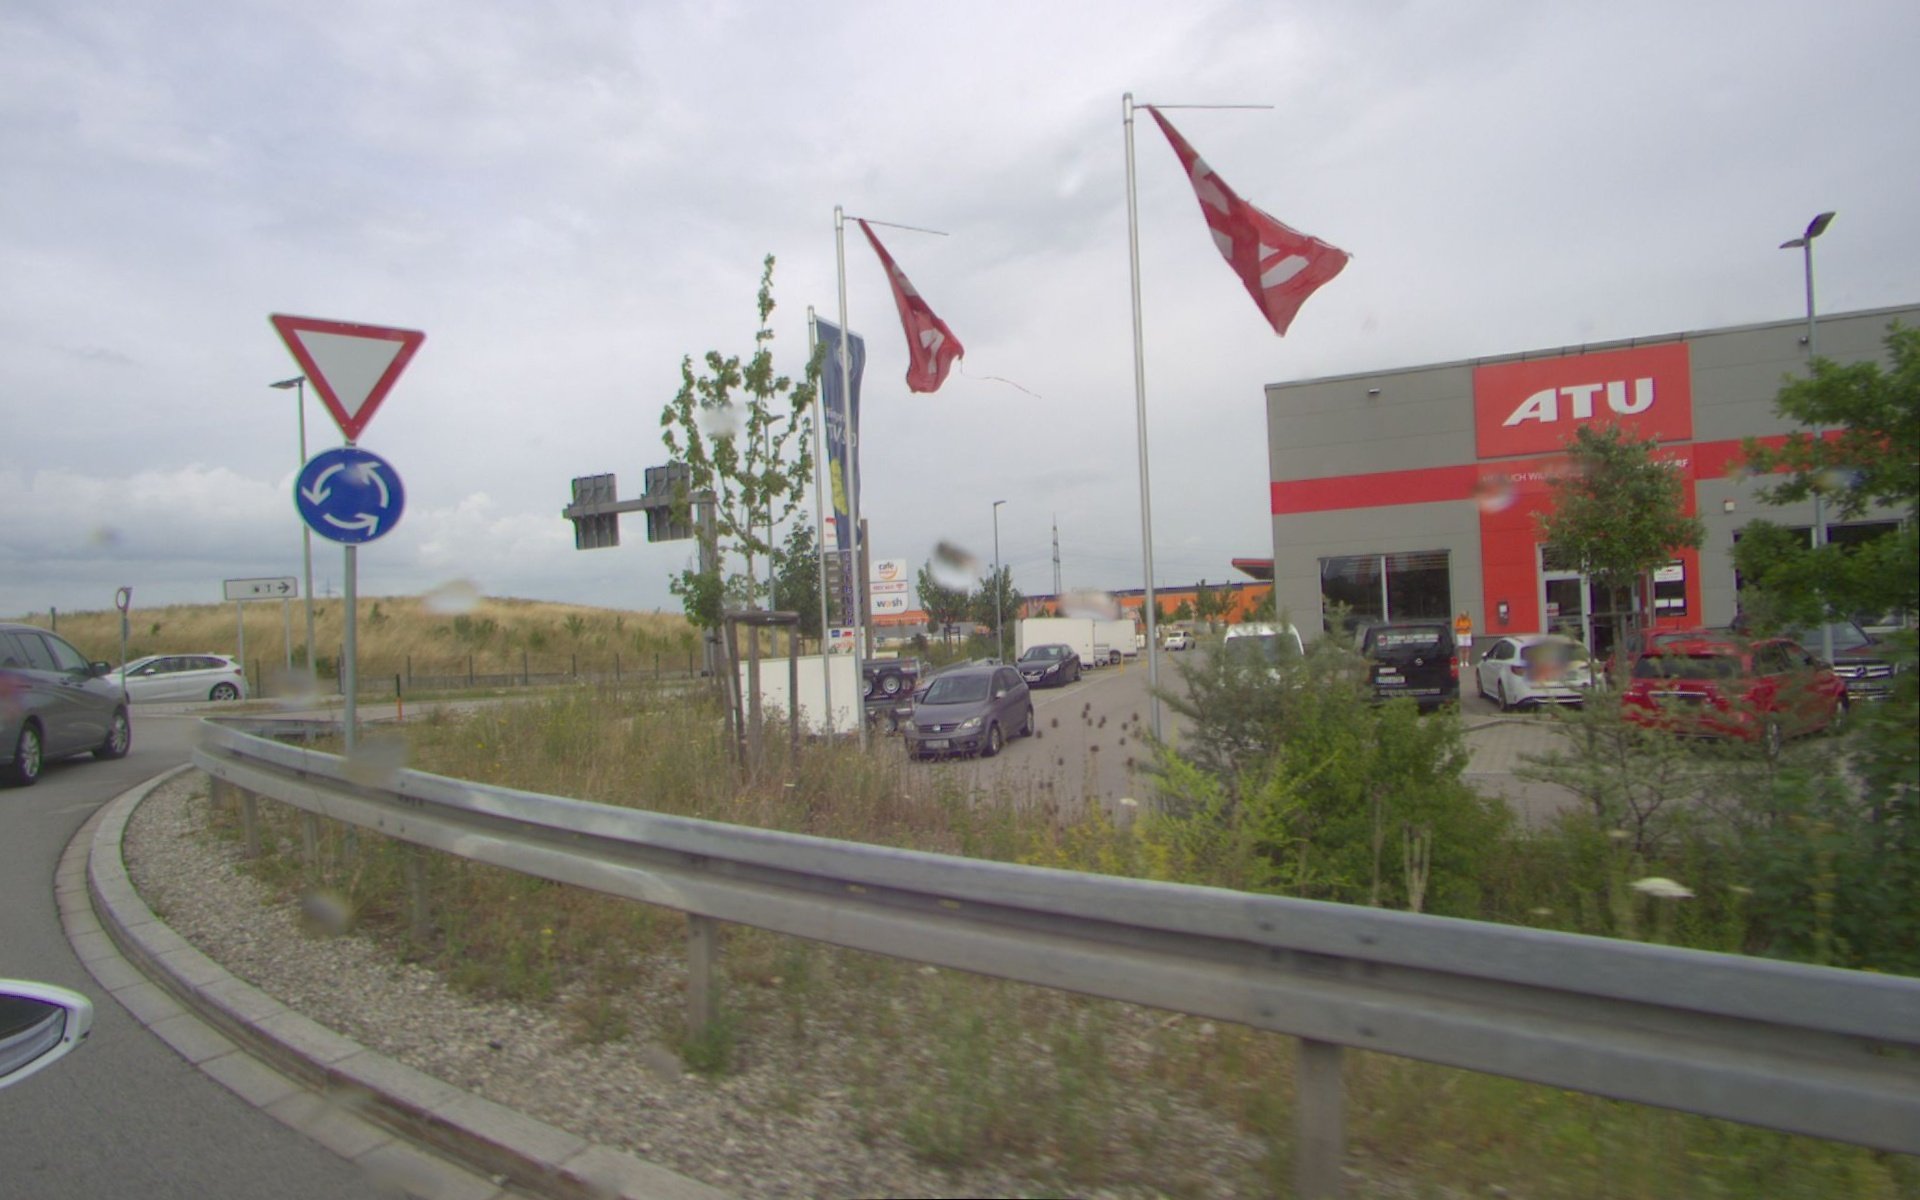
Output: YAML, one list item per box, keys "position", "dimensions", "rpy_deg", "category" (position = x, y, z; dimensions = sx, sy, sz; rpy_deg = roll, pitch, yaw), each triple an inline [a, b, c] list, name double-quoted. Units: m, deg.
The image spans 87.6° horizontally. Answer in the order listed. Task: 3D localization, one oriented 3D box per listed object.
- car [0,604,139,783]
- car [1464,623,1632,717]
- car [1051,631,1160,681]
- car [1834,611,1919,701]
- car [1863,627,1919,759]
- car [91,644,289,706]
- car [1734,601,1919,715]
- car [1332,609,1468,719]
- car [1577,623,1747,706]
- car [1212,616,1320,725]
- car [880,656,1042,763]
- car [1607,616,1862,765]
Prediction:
- position: [-10.276, 0.957, 10.325]
  dimensions: [1.888, 1.594, 3.986]
  rpy_deg: [-1, -2, -26]
  category: "car"
- position: [12.023, 1.368, 20.844]
  dimensions: [1.881, 1.662, 4.669]
  rpy_deg: [-2, -1, 16]
  category: "car"
- position: [5.060, 2.011, 35.290]
  dimensions: [1.890, 1.592, 3.725]
  rpy_deg: [0, -5, -29]
  category: "car"
- position: [18.967, 1.050, 19.436]
  dimensions: [1.562, 1.659, 3.695]
  rpy_deg: [-2, -2, 16]
  category: "car"
- position: [14.239, 1.154, 13.587]
  dimensions: [4.017, 1.600, 1.762]
  rpy_deg: [-3, 0, -30]
  category: "car"
- position: [-22.913, 2.174, 29.973]
  dimensions: [1.760, 1.649, 4.403]
  rpy_deg: [-1, -2, 33]
  category: "car"
- position: [16.290, 1.061, 18.558]
  dimensions: [1.562, 1.859, 4.199]
  rpy_deg: [-2, -3, 16]
  category: "car"
- position: [9.266, 1.250, 21.503]
  dimensions: [1.964, 1.998, 5.071]
  rpy_deg: [-2, 0, 16]
  category: "car"
- position: [14.383, 1.321, 20.784]
  dimensions: [1.562, 1.517, 4.199]
  rpy_deg: [-2, -3, 16]
  category: "car"
- position: [6.753, 1.456, 22.266]
  dimensions: [1.964, 2.074, 5.072]
  rpy_deg: [-2, -1, 16]
  category: "car"
- position: [0.183, 2.089, 20.191]
  dimensions: [1.930, 1.697, 4.829]
  rpy_deg: [-2, -2, 16]
  category: "car"
- position: [11.582, 1.250, 14.907]
  dimensions: [4.021, 1.600, 1.761]
  rpy_deg: [-5, 0, -34]
  category: "car"
